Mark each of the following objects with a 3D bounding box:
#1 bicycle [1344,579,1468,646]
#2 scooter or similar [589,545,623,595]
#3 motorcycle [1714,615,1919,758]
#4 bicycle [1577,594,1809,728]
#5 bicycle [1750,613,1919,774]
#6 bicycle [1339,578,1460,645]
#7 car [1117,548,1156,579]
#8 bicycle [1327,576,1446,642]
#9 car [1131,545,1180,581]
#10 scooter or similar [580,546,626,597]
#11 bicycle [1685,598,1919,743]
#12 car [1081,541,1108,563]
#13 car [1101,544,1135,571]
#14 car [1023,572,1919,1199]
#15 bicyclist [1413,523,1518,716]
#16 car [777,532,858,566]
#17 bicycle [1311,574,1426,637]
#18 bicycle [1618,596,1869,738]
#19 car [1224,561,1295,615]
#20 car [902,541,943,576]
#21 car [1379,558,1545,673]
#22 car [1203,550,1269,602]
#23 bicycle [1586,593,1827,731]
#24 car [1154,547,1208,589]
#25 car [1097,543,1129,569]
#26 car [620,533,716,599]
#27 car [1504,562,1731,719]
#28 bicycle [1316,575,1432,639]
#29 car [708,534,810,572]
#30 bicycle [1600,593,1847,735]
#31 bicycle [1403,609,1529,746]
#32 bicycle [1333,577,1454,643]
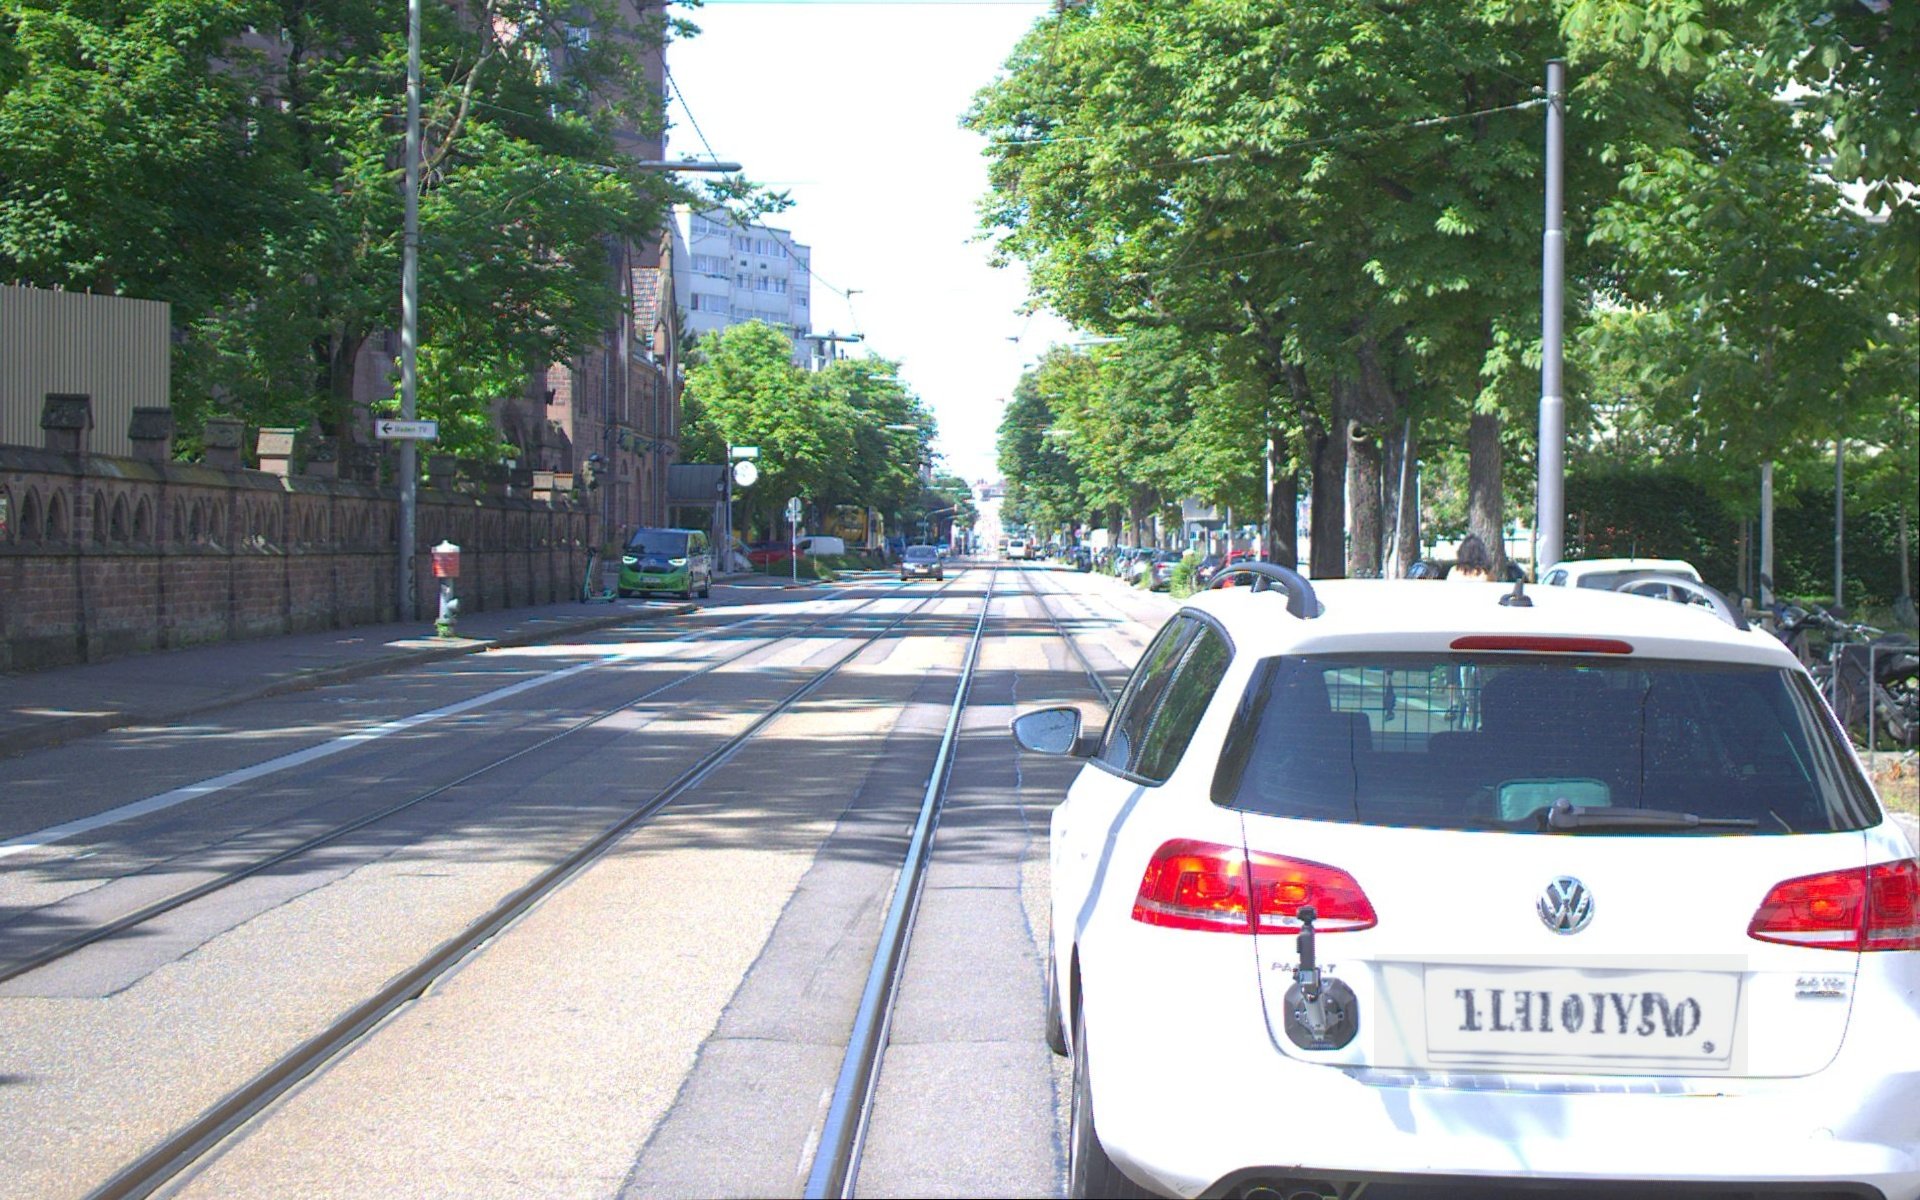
[{"bbox_3d":[6.762,0.186,52.154,1.787,1.007,0.488,0,1,-4],"label":"bicycle"},{"bbox_3d":[-8.404,-0.717,81.668,0.423,1.196,1.142,1,1,16],"label":"scooter or similar"},{"bbox_3d":[6.453,0.647,25.796,1.465,1.042,0.534,0,1,-1],"label":"motorcycle"},{"bbox_3d":[6.496,0.537,30.493,1.885,1.079,0.551,3,1,-1],"label":"bicycle"},{"bbox_3d":[6.394,0.638,23.645,1.774,1.079,0.596,0,1,-1],"label":"bicycle"},{"bbox_3d":[6.739,0.171,52.738,1.787,1.007,0.488,0,1,-4],"label":"bicycle"},{"bbox_3d":[8.214,-1.725,160.420,1.713,1.396,3.843,0,1,2],"label":"car"},{"bbox_3d":[6.685,0.140,53.899,1.787,1.007,0.488,0,1,-4],"label":"bicycle"},{"bbox_3d":[7.678,-1.463,135.223,1.713,1.396,3.843,0,1,1],"label":"car"},{"bbox_3d":[-8.117,-0.658,78.170,0.405,1.151,1.141,1,1,35],"label":"scooter or similar"},{"bbox_3d":[6.730,0.557,27.386,1.774,1.116,0.596,0,1,-1],"label":"bicycle"},{"bbox_3d":[8.655,-3.107,221.777,1.713,1.396,3.843,0,1,2],"label":"car"},{"bbox_3d":[8.261,-2.232,180.176,1.713,1.396,3.843,0,1,2],"label":"car"},{"bbox_3d":[1.086,0.672,8.483,1.754,1.437,4.413,1,1,0],"label":"car"},{"bbox_3d":[4.322,0.160,29.435,0.786,1.623,0.738,0,1,1],"label":"bicyclist"},{"bbox_3d":[-7.738,-2.752,186.772,3.987,1.809,2.000,0,1,-34],"label":"car"},{"bbox_3d":[6.614,0.094,55.693,1.787,1.007,0.488,0,1,-4],"label":"bicycle"},{"bbox_3d":[6.519,0.554,28.638,1.911,1.079,0.551,2,1,-1],"label":"bicycle"},{"bbox_3d":[7.468,-0.309,85.649,1.713,1.276,3.842,0,1,5],"label":"car"},{"bbox_3d":[-1.520,-1.705,140.347,1.493,1.380,3.642,0,1,2],"label":"car"},{"bbox_3d":[6.719,0.171,46.421,1.664,1.439,4.633,0,1,1],"label":"car"},{"bbox_3d":[7.646,-0.669,95.536,1.713,1.396,3.843,0,1,3],"label":"car"},{"bbox_3d":[6.472,0.533,29.852,1.911,1.079,0.551,3,1,-1],"label":"bicycle"},{"bbox_3d":[7.526,-1.091,117.193,1.713,1.396,3.843,0,1,2],"label":"car"},{"bbox_3d":[8.494,-2.456,191.406,1.713,1.396,3.843,0,1,2],"label":"car"},{"bbox_3d":[-8.000,-0.958,94.553,1.994,1.751,4.711,0,1,3],"label":"car"},{"bbox_3d":[6.493,0.359,34.314,1.590,1.446,3.946,0,1,1],"label":"car"},{"bbox_3d":[6.645,0.108,55.172,1.787,1.007,0.488,0,1,-4],"label":"bicycle"},{"bbox_3d":[-8.975,-2.101,153.470,4.116,1.525,1.933,2,1,-20],"label":"car"},{"bbox_3d":[6.486,0.537,29.238,1.911,1.079,0.551,3,1,-1],"label":"bicycle"},{"bbox_3d":[4.306,0.645,29.383,0.811,1.074,2.012,1,1,1],"label":"bicycle"},{"bbox_3d":[6.722,0.156,53.315,1.787,1.007,0.488,0,1,-4],"label":"bicycle"}]
